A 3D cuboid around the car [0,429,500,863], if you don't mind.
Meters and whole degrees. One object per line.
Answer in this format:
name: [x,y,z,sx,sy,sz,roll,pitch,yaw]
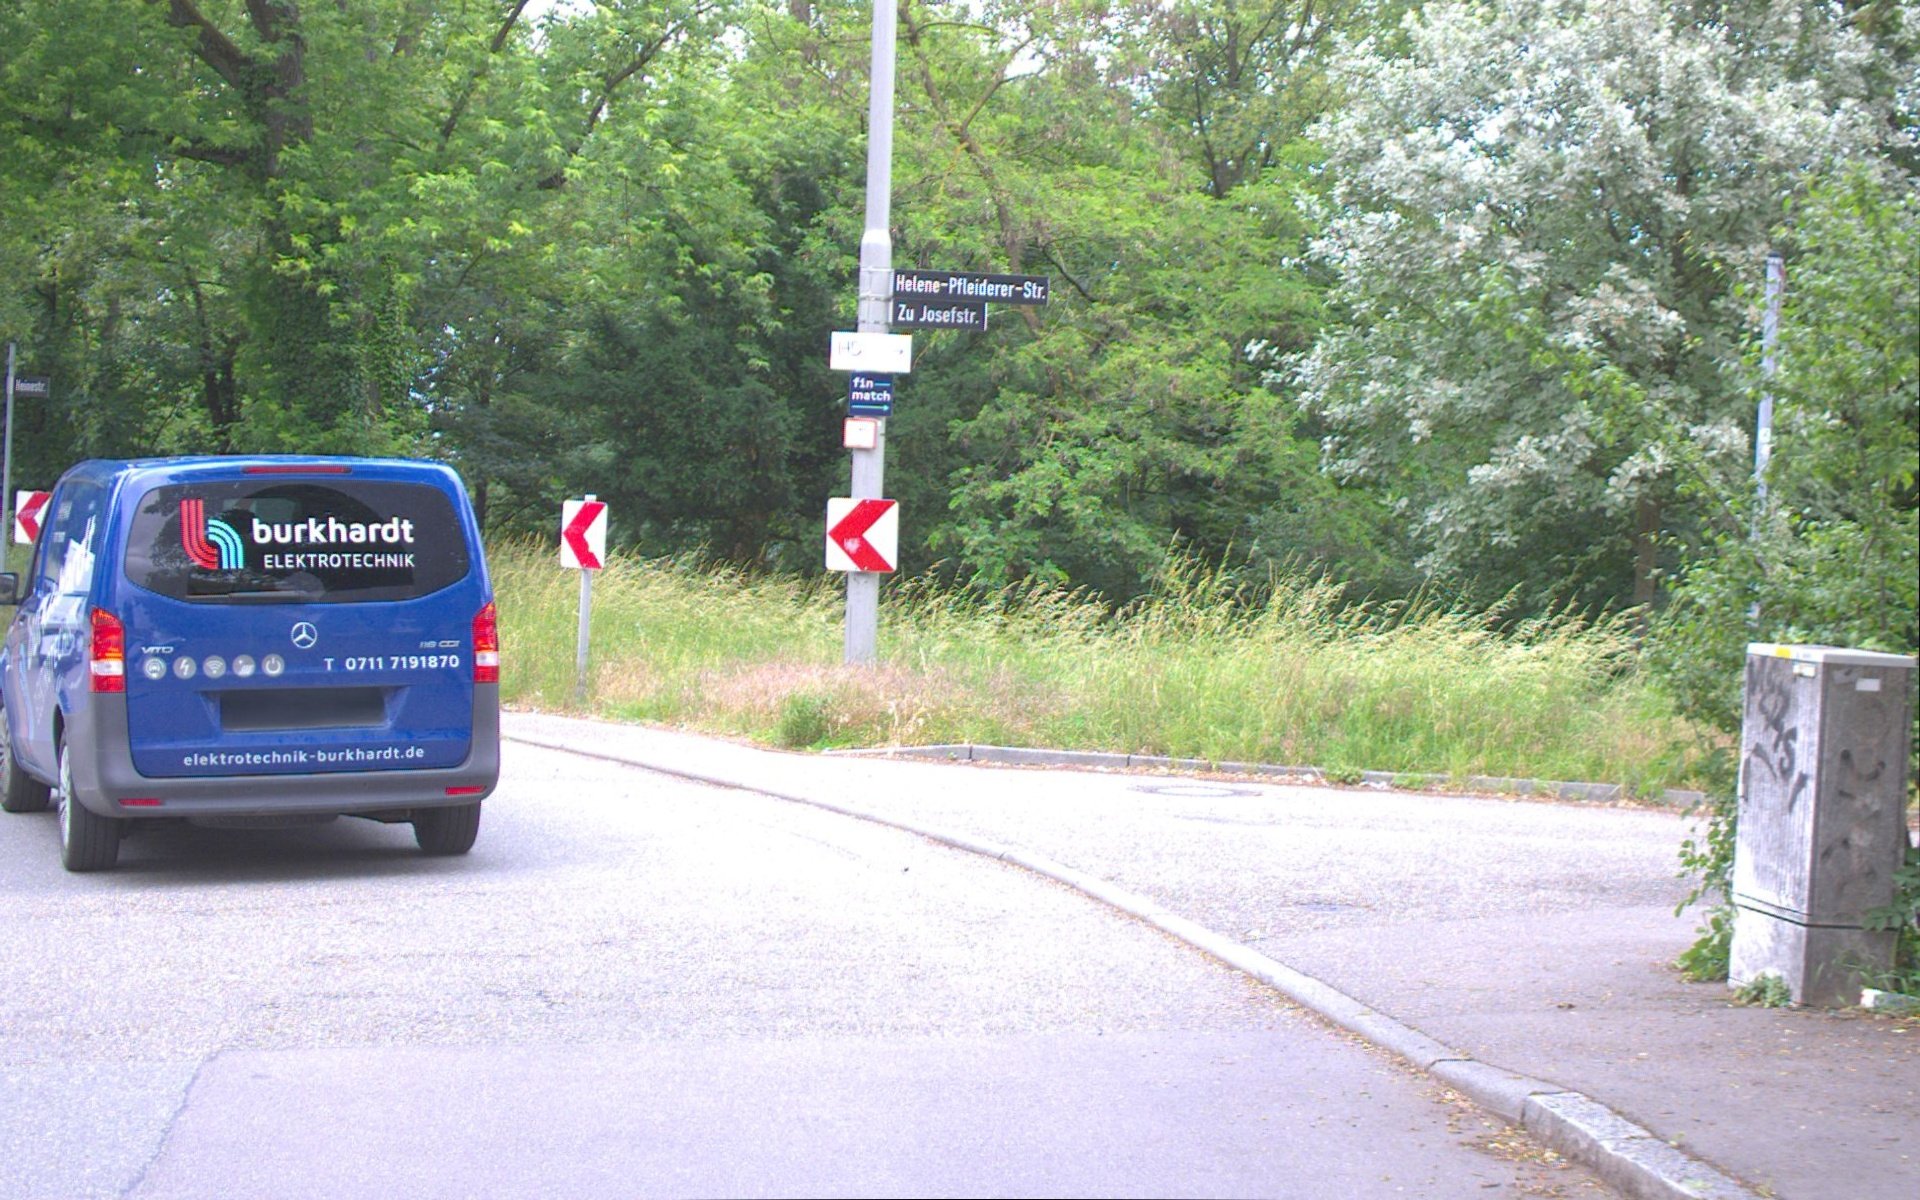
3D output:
car: [-3.611,0.185,16.832,1.913,1.831,4.295,0,0,-18]
